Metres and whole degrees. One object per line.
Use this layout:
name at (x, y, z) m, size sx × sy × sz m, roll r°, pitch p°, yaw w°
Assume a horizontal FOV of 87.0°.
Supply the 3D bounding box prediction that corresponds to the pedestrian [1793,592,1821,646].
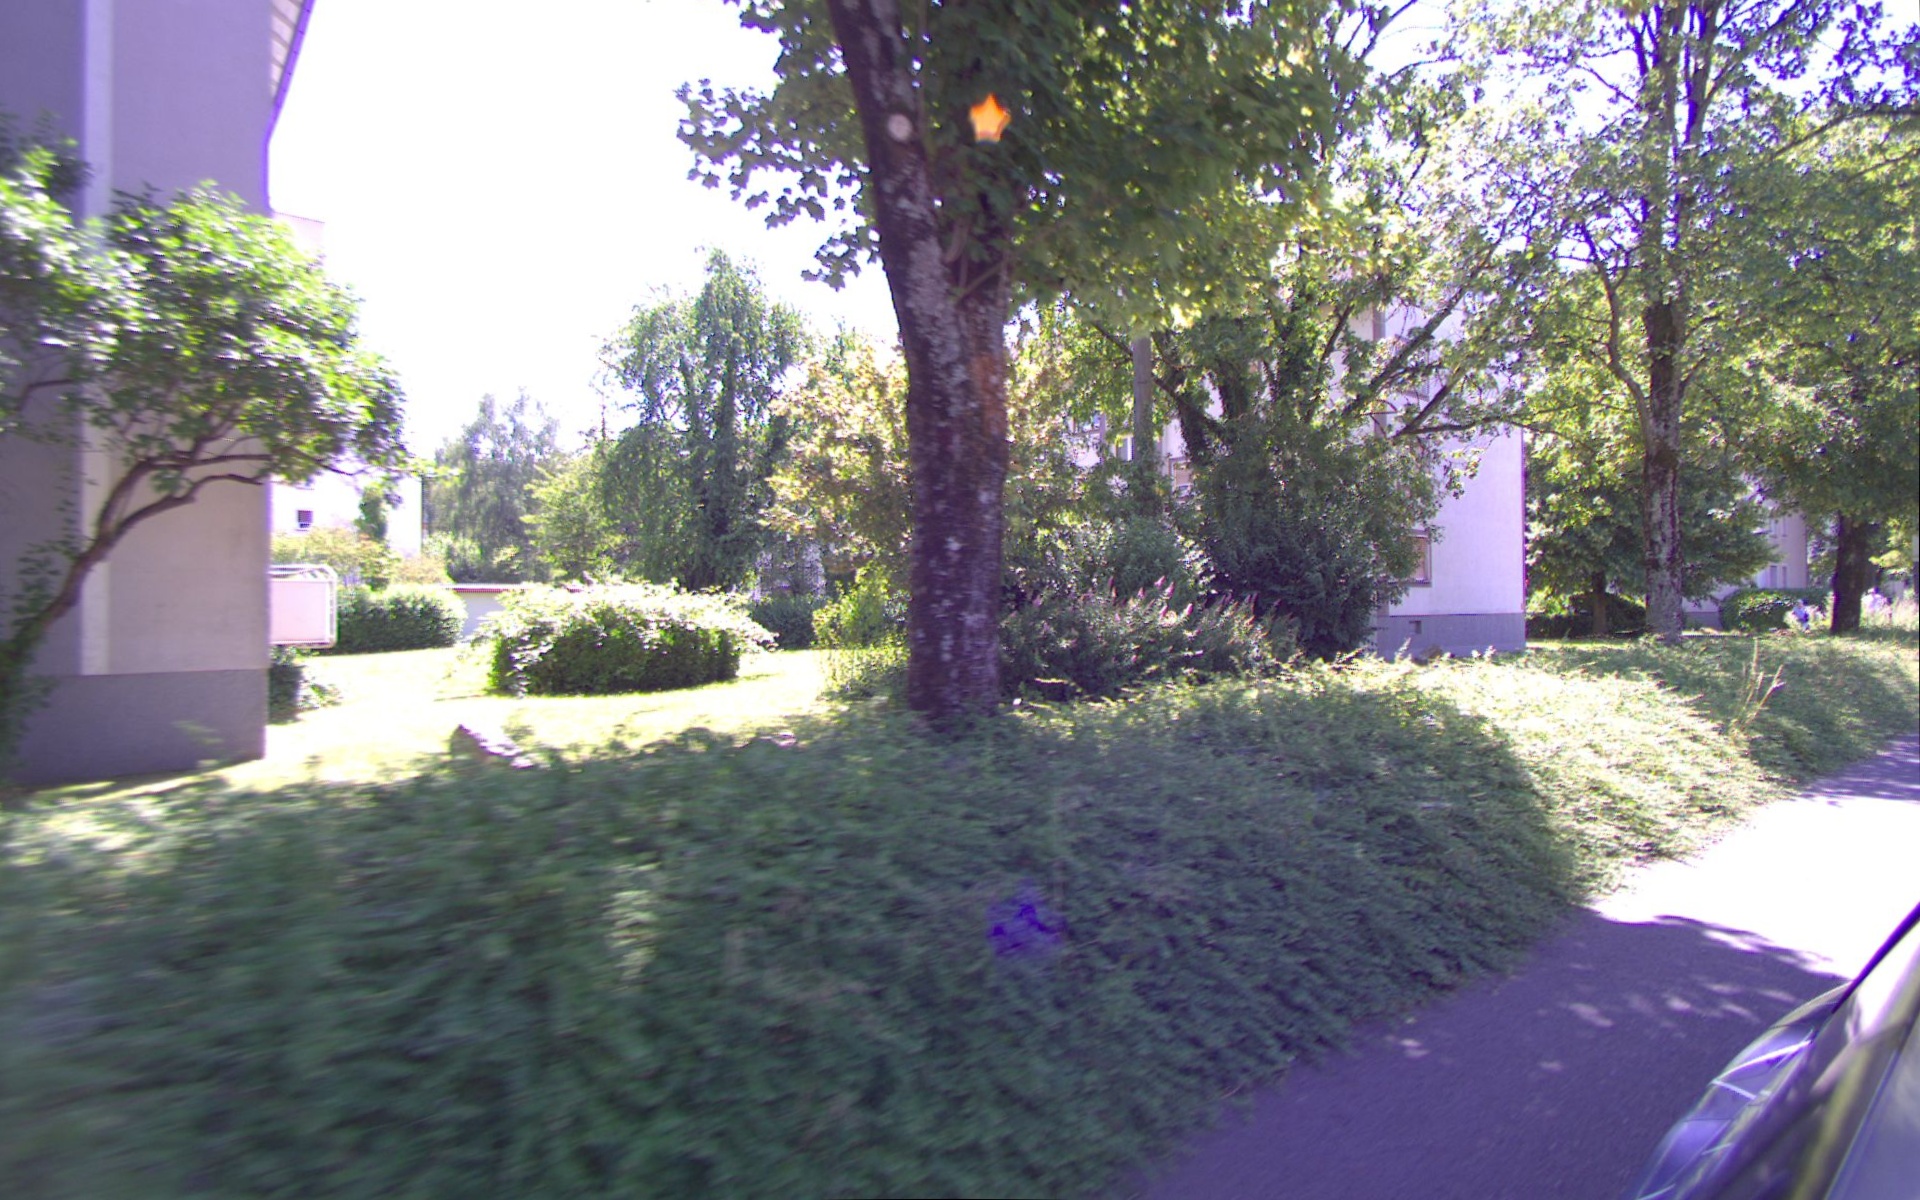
pedestrian at (31.268, 0.689, 37.349) m, size 0.610 × 1.950 × 0.677 m, roll 0°, pitch -1°, yaw -41°

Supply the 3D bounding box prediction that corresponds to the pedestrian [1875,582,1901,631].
pedestrian at (36.735, 0.255, 40.064) m, size 0.610 × 1.950 × 0.677 m, roll 0°, pitch -1°, yaw -41°
